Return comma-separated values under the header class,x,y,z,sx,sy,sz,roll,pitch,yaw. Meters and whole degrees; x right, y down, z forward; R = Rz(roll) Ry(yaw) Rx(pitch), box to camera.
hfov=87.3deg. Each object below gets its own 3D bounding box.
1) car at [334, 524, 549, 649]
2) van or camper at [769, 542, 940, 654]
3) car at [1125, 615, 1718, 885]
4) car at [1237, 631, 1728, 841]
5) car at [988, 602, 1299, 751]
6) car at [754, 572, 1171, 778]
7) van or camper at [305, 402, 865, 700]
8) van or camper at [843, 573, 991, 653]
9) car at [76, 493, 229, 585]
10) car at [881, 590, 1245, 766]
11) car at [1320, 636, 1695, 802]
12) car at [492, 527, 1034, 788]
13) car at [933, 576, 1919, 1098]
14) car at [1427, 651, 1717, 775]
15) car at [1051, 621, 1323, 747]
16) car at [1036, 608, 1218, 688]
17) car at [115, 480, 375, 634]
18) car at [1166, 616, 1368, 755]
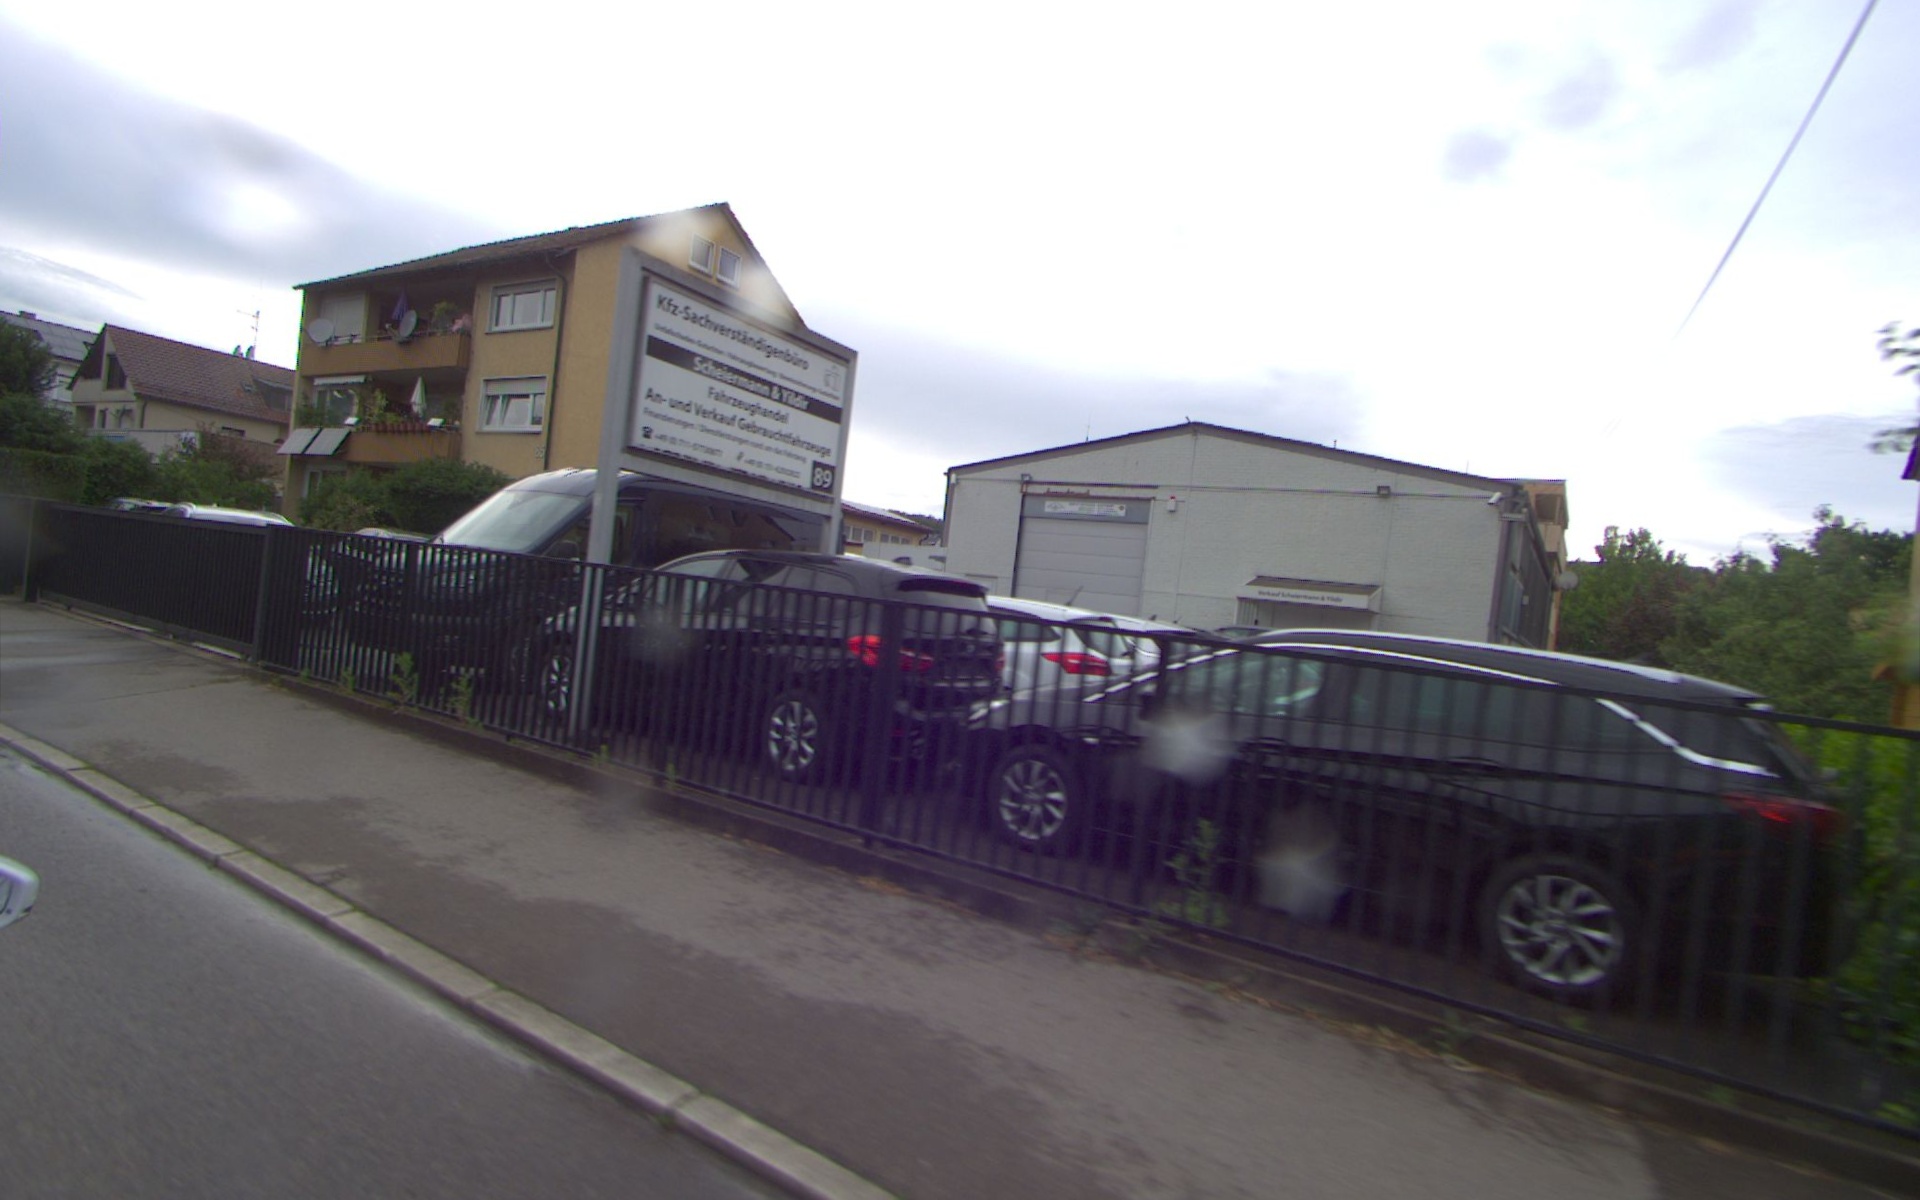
class,x,y,z,sx,sy,sz,roll,pitch,yaw
car,-8.775,-0.243,16.874,4.047,1.668,1.880,3,-4,45
van or camper,-2.799,-0.072,25.907,2.071,2.436,4.353,9,-4,-39
car,3.481,1.025,7.917,3.846,1.369,1.738,4,-4,37
car,4.868,1.214,9.765,3.838,1.369,1.588,5,-4,31
car,2.535,1.046,14.285,3.906,1.616,1.631,4,-4,36
car,-0.066,0.704,10.367,3.939,1.584,1.663,4,-4,36
van or camper,-3.884,-0.253,11.854,2.098,2.513,5.913,5,-3,33
van or camper,-1.260,0.323,28.122,1.809,1.841,3.952,9,-4,-44
car,-17.560,-1.353,21.831,3.941,1.566,1.661,7,-1,39
car,1.157,0.885,12.097,3.939,1.584,1.663,4,-4,36
car,6.246,1.332,11.818,3.548,1.369,1.589,5,-3,27
car,-1.804,0.362,8.349,4.497,1.584,1.663,4,-4,36
car,2.101,0.890,5.386,4.177,1.473,1.664,7,-2,35
car,9.293,1.700,15.523,3.551,1.369,1.587,5,-4,31
car,3.689,1.348,16.619,3.939,1.570,1.663,4,-4,36
car,4.155,1.190,25.123,3.932,1.495,1.999,5,-4,29
car,-10.693,-0.606,14.857,5.170,1.668,2.118,3,-5,45
car,5.578,1.532,18.259,3.083,2.073,1.581,5,-4,29
